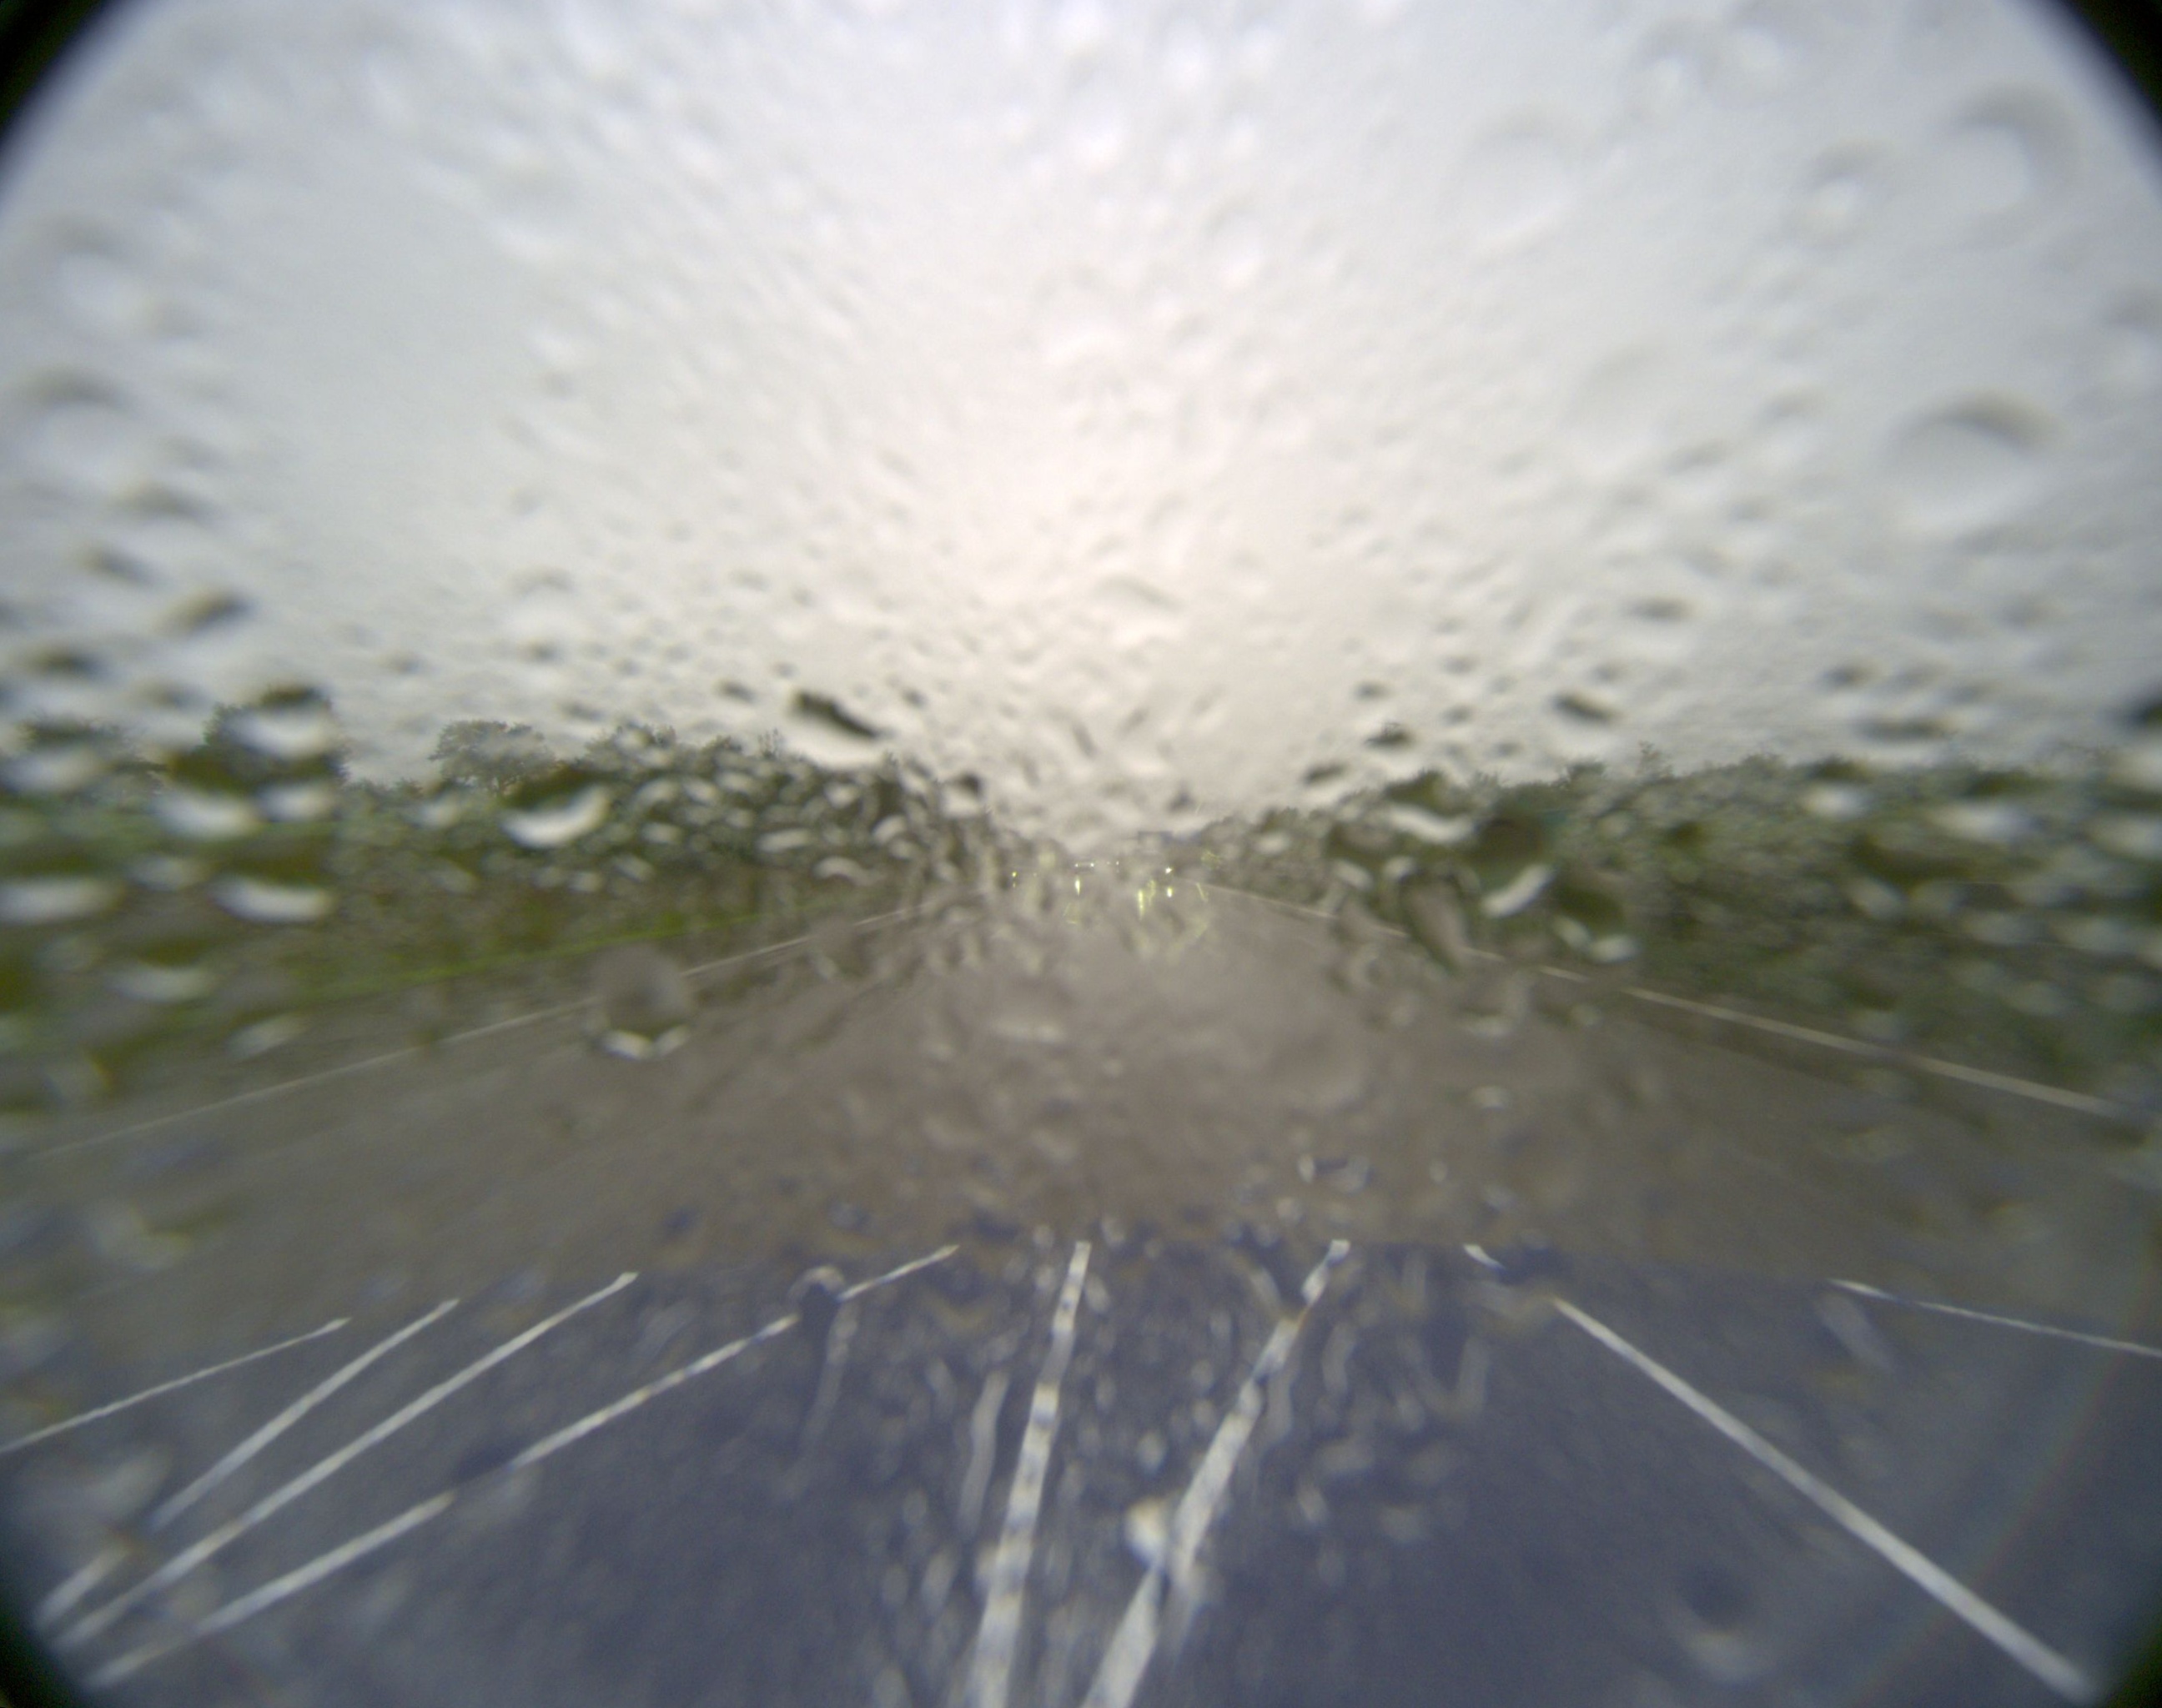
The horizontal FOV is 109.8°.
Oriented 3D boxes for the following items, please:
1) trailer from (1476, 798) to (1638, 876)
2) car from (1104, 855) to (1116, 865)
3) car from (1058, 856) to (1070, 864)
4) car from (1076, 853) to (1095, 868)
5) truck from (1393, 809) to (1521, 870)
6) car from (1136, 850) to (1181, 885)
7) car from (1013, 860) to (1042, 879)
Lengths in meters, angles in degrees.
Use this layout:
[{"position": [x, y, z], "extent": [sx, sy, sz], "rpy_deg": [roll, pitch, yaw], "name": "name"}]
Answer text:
[{"position": [21.140, -0.713, 34.463], "extent": [2.252, 3.047, 8.264], "rpy_deg": [-2, 1, 1], "name": "trailer"}, {"position": [4.450, 0.913, 116.547], "extent": [1.753, 1.369, 4.000], "rpy_deg": [-2, 0, 1], "name": "car"}, {"position": [-2.641, 0.906, 118.203], "extent": [1.753, 1.205, 4.000], "rpy_deg": [-2, 1, 1], "name": "car"}, {"position": [0.438, 0.615, 74.043], "extent": [1.753, 1.406, 4.000], "rpy_deg": [-2, 1, 1], "name": "car"}, {"position": [21.315, -0.804, 43.951], "extent": [2.245, 3.019, 10.615], "rpy_deg": [-2, 1, 1], "name": "truck"}, {"position": [4.113, 0.687, 41.213], "extent": [2.047, 1.763, 4.500], "rpy_deg": [-1, 1, 1], "name": "car"}, {"position": [-3.933, 1.136, 56.491], "extent": [1.753, 1.205, 4.000], "rpy_deg": [-2, 1, 1], "name": "car"}]
